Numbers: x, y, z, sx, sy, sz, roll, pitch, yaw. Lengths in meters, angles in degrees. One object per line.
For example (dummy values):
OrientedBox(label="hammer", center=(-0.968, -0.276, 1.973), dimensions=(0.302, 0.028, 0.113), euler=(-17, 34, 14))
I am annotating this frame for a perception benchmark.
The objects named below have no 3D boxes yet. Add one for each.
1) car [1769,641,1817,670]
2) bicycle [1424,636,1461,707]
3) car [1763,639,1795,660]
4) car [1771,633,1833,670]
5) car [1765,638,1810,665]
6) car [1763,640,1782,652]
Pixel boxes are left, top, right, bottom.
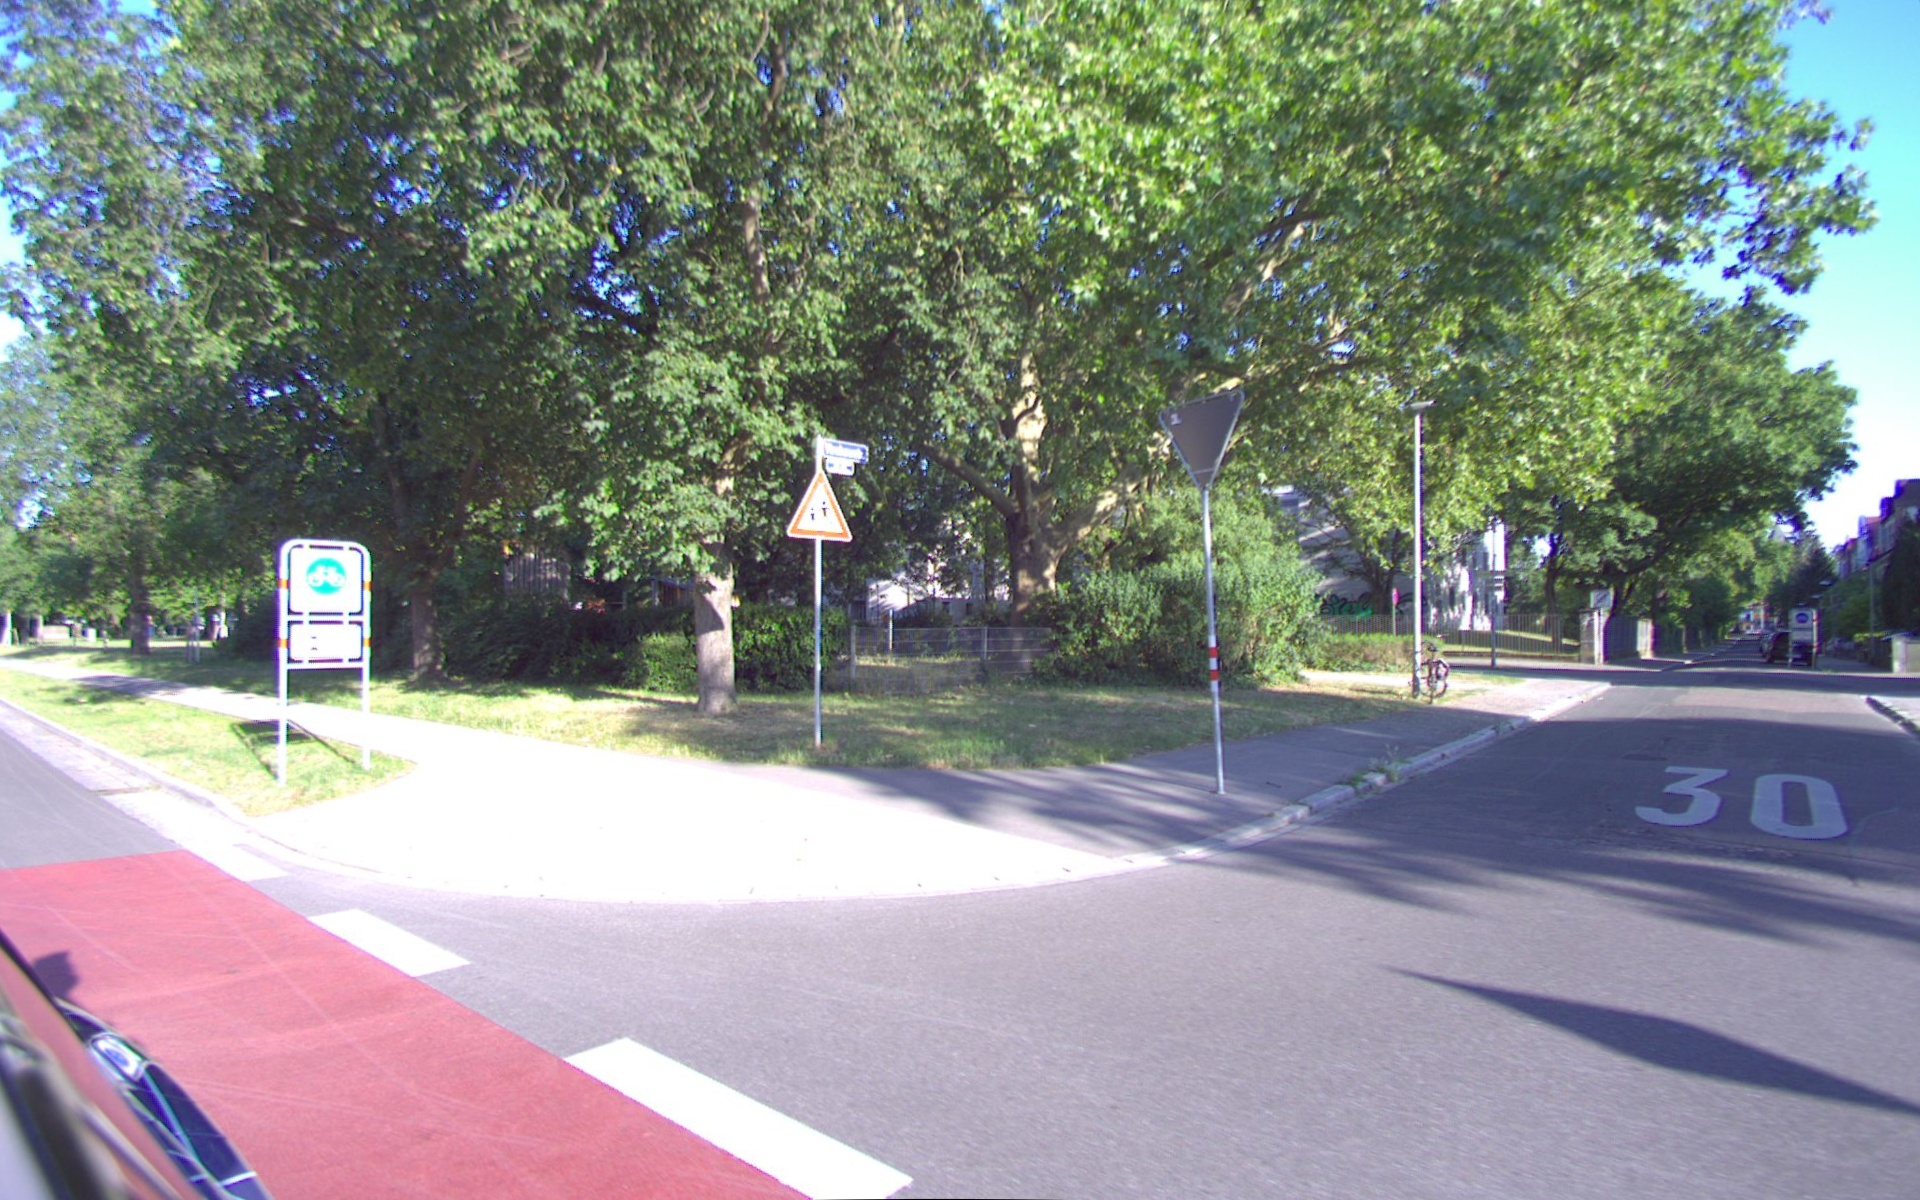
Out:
OrientedBox(label="car", center=(46.971, 3.081, 57.043), dimensions=(1.833, 1.567, 3.943), euler=(-2, -3, 43))
OrientedBox(label="bicycle", center=(8.700, 1.262, 18.290), dimensions=(0.417, 1.196, 1.579), euler=(0, -1, 19))
OrientedBox(label="car", center=(64.059, 3.850, 79.156), dimensions=(1.831, 1.567, 3.947), euler=(-2, -3, 39))
OrientedBox(label="car", center=(37.093, 2.222, 44.547), dimensions=(1.833, 1.567, 3.943), euler=(-2, -3, 43))
OrientedBox(label="car", center=(50.515, 3.133, 61.765), dimensions=(1.833, 1.567, 3.943), euler=(-2, -3, 43))
OrientedBox(label="car", center=(107.592, 6.099, 133.989), dimensions=(1.832, 1.567, 3.947), euler=(-2, -3, 40))
